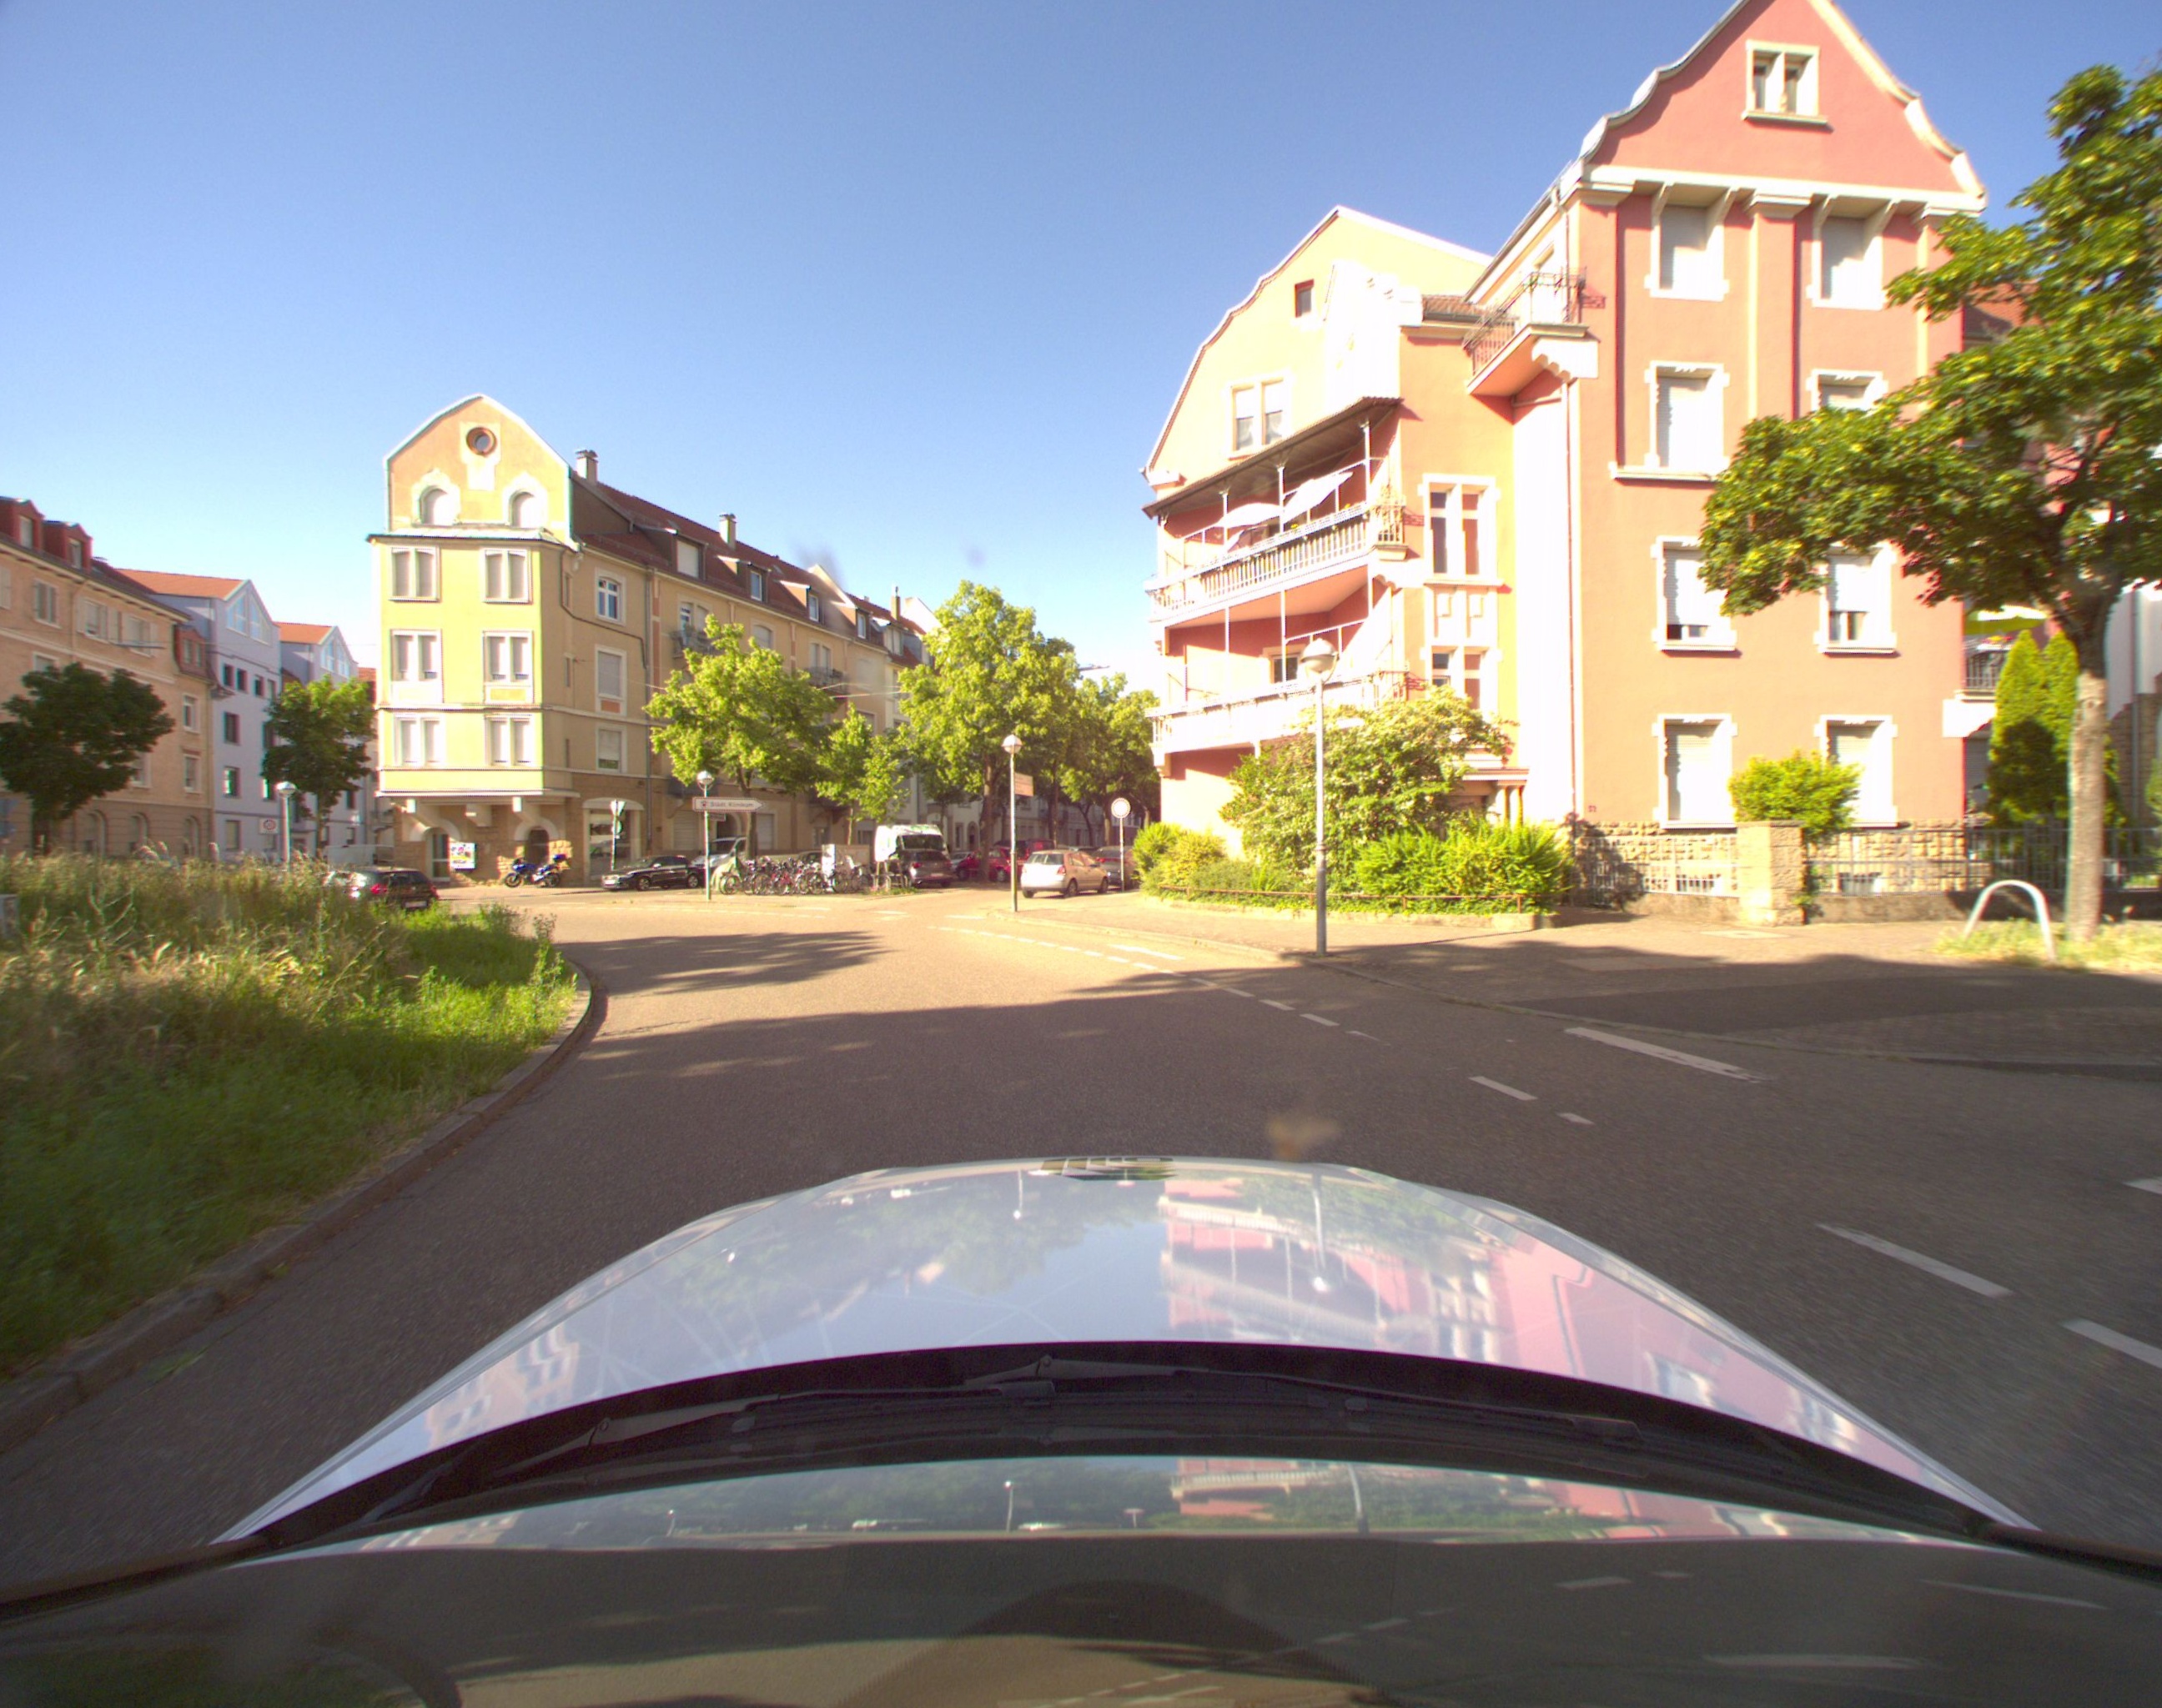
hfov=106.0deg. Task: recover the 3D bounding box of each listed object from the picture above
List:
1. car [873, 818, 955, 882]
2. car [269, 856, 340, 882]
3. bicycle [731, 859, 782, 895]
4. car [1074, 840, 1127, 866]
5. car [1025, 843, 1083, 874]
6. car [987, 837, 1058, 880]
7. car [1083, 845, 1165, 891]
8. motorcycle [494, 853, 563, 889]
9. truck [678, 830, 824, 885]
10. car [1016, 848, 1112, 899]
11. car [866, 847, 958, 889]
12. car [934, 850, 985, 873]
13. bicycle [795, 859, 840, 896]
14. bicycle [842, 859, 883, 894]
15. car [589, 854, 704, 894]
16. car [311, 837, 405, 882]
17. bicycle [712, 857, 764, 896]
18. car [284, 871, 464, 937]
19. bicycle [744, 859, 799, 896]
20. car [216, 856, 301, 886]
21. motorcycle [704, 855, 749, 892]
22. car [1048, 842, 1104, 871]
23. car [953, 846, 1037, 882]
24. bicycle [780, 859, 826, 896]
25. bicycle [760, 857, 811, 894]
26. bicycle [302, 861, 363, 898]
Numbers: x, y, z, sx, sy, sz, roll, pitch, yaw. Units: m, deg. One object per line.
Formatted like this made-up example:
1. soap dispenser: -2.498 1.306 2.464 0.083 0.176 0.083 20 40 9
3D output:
1. car: -7.625 -0.229 36.511 2.107 2.600 6.323 0 1 -26
2. car: -46.243 0.868 48.600 1.702 1.486 3.743 -1 0 -21
3. bicycle: -10.800 0.748 27.125 0.582 1.126 1.611 1 2 24
4. car: 1.125 -0.082 47.785 1.692 1.470 3.353 0 1 -29
5. car: -1.442 0.207 41.966 1.692 1.470 3.353 0 1 -29
6. car: -2.721 0.163 37.328 1.696 1.865 3.346 0 1 -38
7. car: 1.686 0.454 30.292 1.668 1.562 4.319 1 1 23
8. motorcycle: -22.370 0.690 33.005 2.242 1.411 0.698 1 1 -8
9. truck: -15.228 0.098 38.129 2.113 2.292 6.659 -2 0 24
10. car: -0.457 0.545 25.689 1.668 1.446 3.566 1 1 23
11. car: -6.413 0.476 30.629 1.697 1.446 3.875 0 1 -42
12. car: -8.099 0.501 54.617 1.668 1.390 3.942 -2 0 20
13. bicycle: -8.533 0.744 26.451 0.414 1.086 1.536 1 2 27
14. bicycle: -7.303 0.747 27.314 0.414 1.086 1.536 1 2 27
15. car: -17.356 0.768 32.751 1.668 1.390 3.942 -2 0 20
16. car: -33.291 0.224 37.670 2.146 1.909 4.521 -1 0 -27
17. bicycle: -11.525 0.737 27.407 0.532 1.192 1.689 1 2 24
18. car: -17.977 1.202 20.711 3.951 1.418 1.882 0 2 24
19. bicycle: -10.167 0.750 26.815 0.649 1.088 1.740 1 2 24
20. car: -44.608 0.887 44.272 1.702 1.486 3.975 -1 0 -21
21. motorcycle: -12.637 0.685 29.006 1.690 1.270 0.541 1 2 28
22. car: -0.320 0.104 44.421 1.692 1.470 3.353 0 1 -29
23. car: -3.708 0.385 35.028 3.340 1.446 1.699 1 1 37
24. bicycle: -9.024 0.742 26.482 0.414 1.089 1.583 1 2 26
25. bicycle: -9.594 0.669 26.513 0.494 1.102 1.660 1 2 26
26. bicycle: -25.031 0.845 27.274 0.614 1.145 1.693 -1 1 -7
